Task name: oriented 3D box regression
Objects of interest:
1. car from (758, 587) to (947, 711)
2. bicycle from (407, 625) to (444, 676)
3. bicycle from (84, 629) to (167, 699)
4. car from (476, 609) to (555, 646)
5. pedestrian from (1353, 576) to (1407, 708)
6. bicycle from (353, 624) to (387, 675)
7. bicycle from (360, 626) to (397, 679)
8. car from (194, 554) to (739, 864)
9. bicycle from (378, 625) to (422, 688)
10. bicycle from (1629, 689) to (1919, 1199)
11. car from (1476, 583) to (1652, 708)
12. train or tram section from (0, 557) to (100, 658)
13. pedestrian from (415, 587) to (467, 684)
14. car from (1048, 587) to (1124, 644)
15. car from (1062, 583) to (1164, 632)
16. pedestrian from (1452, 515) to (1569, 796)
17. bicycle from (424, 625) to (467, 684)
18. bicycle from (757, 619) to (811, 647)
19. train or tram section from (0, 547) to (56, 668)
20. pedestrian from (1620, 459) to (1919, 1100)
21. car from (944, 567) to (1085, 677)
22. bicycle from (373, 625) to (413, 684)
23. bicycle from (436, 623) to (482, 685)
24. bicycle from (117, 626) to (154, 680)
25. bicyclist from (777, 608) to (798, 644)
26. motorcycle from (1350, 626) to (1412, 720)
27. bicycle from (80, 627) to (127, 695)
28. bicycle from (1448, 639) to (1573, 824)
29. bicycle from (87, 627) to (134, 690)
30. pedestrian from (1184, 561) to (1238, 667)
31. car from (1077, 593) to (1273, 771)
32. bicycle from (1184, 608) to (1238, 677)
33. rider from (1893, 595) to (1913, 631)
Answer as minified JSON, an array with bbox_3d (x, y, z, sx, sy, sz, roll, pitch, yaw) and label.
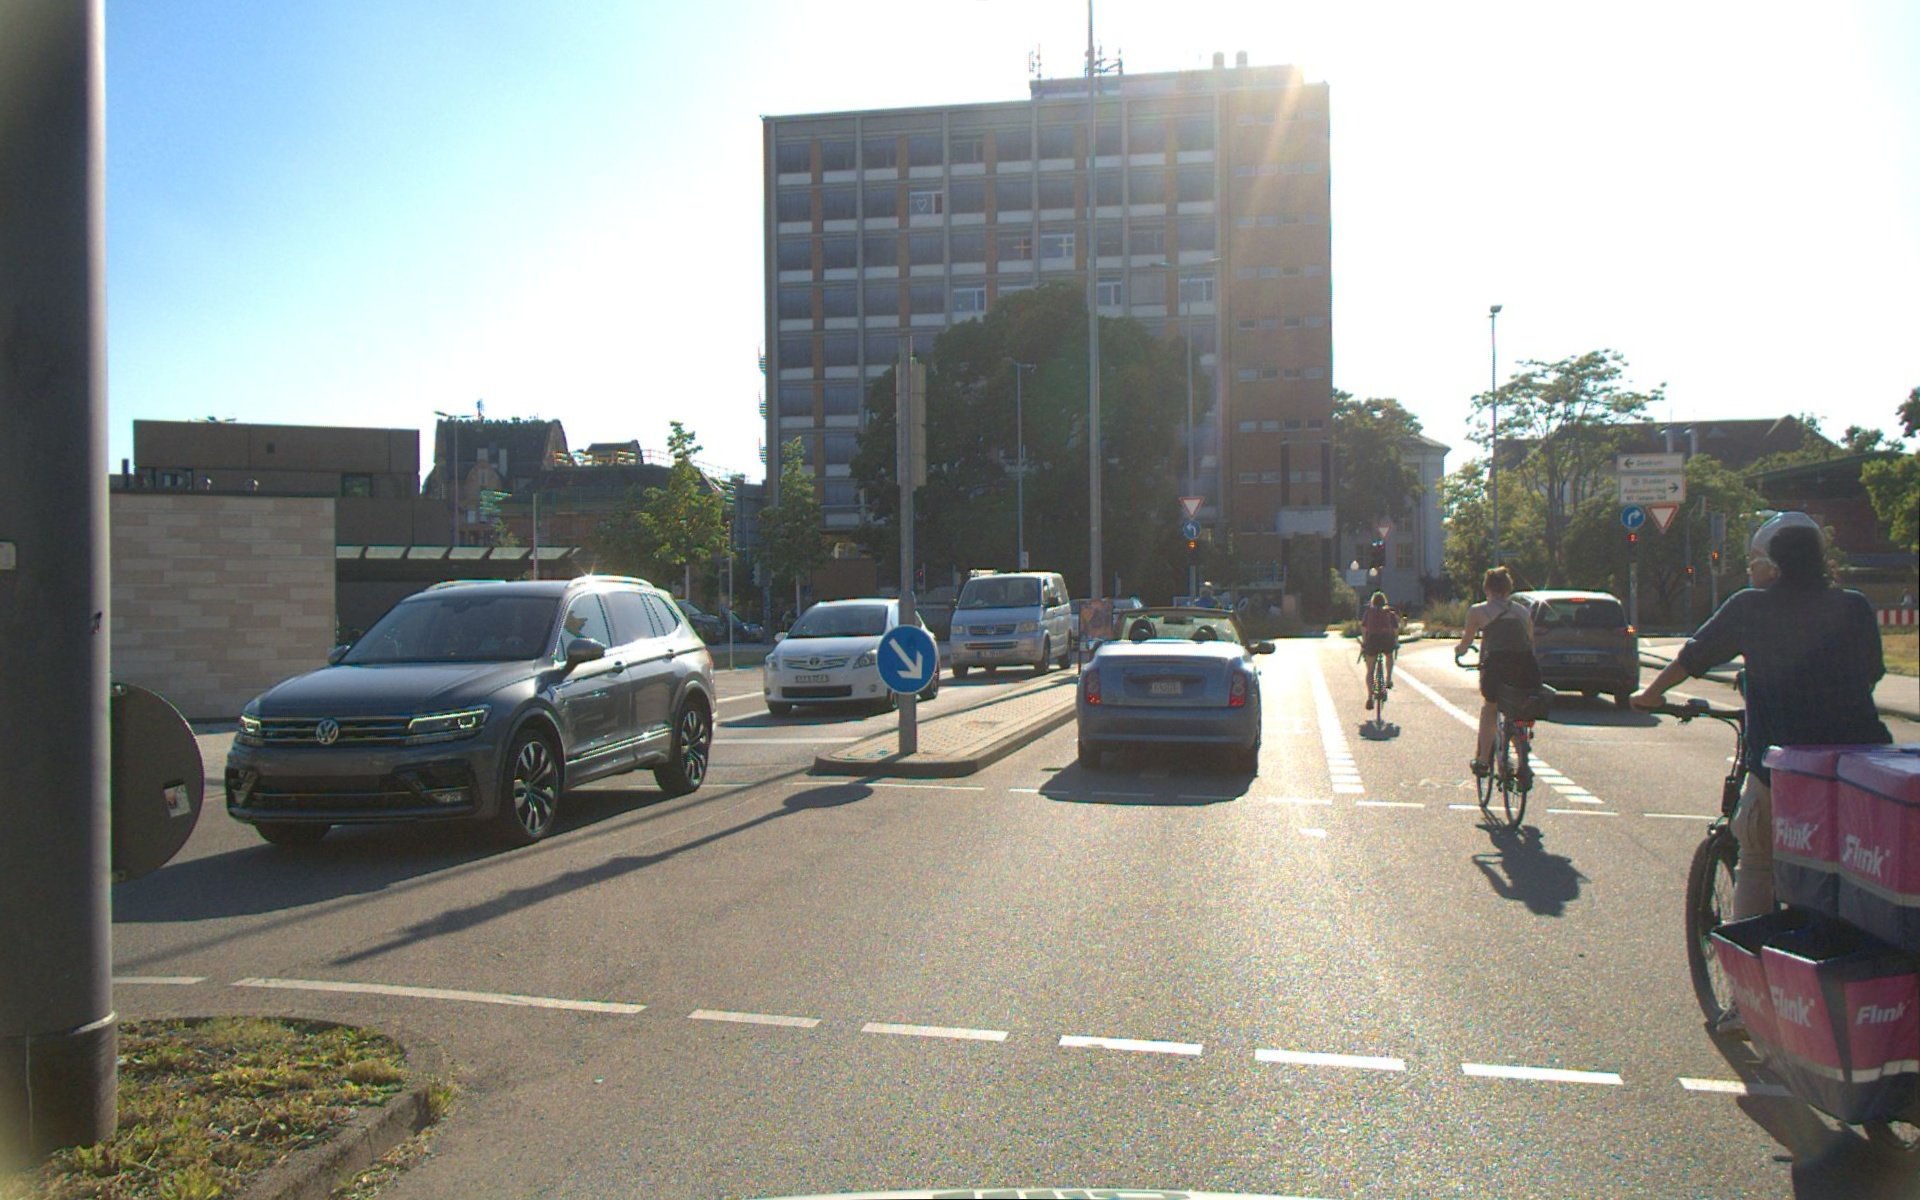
[{"bbox_3d":[-1.416,0.638,23.273,1.658,1.588,3.983,-1,0,11],"label":"car"},{"bbox_3d":[-12.617,1.179,39.011,0.599,1.134,1.882,1,-1,-24],"label":"bicycle"},{"bbox_3d":[-14.047,1.060,27.895,0.595,1.134,1.894,1,-1,-6],"label":"bicycle"},{"bbox_3d":[-19.791,1.228,73.620,3.532,1.588,1.637,-1,0,39],"label":"car"},{"bbox_3d":[5.360,0.530,21.159,0.575,1.626,1.026,1,-1,10],"label":"pedestrian"},{"bbox_3d":[-13.778,1.148,38.594,0.599,1.134,1.882,1,-1,-24],"label":"bicycle"},{"bbox_3d":[-12.937,1.161,36.769,0.599,1.134,1.882,1,-1,-24],"label":"bicycle"},{"bbox_3d":[-3.166,0.641,11.741,1.724,1.736,4.534,-2,0,12],"label":"car"},{"bbox_3d":[-10.627,1.061,31.375,0.599,1.134,1.882,1,-1,-24],"label":"bicycle"},{"bbox_3d":[2.711,0.927,5.185,0.542,1.192,2.374,1,-1,7],"label":"bicycle"},{"bbox_3d":[9.206,0.672,25.525,1.792,1.719,4.372,1,-1,10],"label":"car"},{"bbox_3d":[-36.784,0.313,65.870,2.996,3.660,11.975,1,-1,-21],"label":"train or tram section"},{"bbox_3d":[-10.358,0.708,32.988,0.889,1.902,0.682,2,-1,-25],"label":"pedestrian"},{"bbox_3d":[3.722,0.439,48.240,1.760,1.557,4.003,-2,0,10],"label":"car"},{"bbox_3d":[5.198,0.238,55.905,1.767,1.557,3.989,-2,0,33],"label":"car"},{"bbox_3d":[3.892,0.380,11.736,0.645,1.902,0.873,1,-1,10],"label":"pedestrian"},{"bbox_3d":[-10.439,1.095,33.534,0.599,1.134,1.882,1,-1,-24],"label":"bicycle"},{"bbox_3d":[-7.983,1.497,74.998,2.356,1.212,0.610,1,-1,18],"label":"bicycle"},{"bbox_3d":[-32.444,0.239,54.657,2.970,3.660,12.118,1,-1,-22],"label":"train or tram section"},{"bbox_3d":[2.713,0.538,5.428,0.789,1.902,0.957,1,-1,8],"label":"pedestrian"},{"bbox_3d":[1.182,0.411,33.084,1.868,1.979,4.710,-2,0,13],"label":"car"},{"bbox_3d":[-11.432,1.084,33.317,0.599,1.134,1.882,1,-1,-24],"label":"bicycle"},{"bbox_3d":[-9.625,1.025,31.744,0.599,1.134,1.882,1,-1,-24],"label":"bicycle"},{"bbox_3d":[-18.220,1.154,36.572,0.599,1.134,1.882,1,-1,-24],"label":"bicycle"},{"bbox_3d":[-7.815,1.185,74.957,0.736,1.626,0.590,1,-1,18],"label":"bicyclist"},{"bbox_3d":[5.368,0.901,21.178,0.600,1.117,2.362,1,-1,10],"label":"motorcycle"},{"bbox_3d":[-15.151,1.068,29.287,0.599,1.134,1.882,1,-1,-24],"label":"bicycle"},{"bbox_3d":[3.854,0.874,11.692,0.552,1.171,1.951,1,-1,10],"label":"bicycle"},{"bbox_3d":[-15.947,1.079,31.076,0.598,1.134,1.883,1,-1,-22],"label":"bicycle"},{"bbox_3d":[4.577,0.253,30.143,0.816,1.902,0.921,1,-1,18],"label":"pedestrian"},{"bbox_3d":[2.187,0.726,16.079,1.625,1.466,4.158,1,-1,10],"label":"car"},{"bbox_3d":[4.611,0.767,30.254,0.595,1.212,2.415,1,-1,18],"label":"bicycle"},{"bbox_3d":[42.773,0.582,75.029,0.736,1.626,0.589,1,-1,23],"label":"rider"}]
